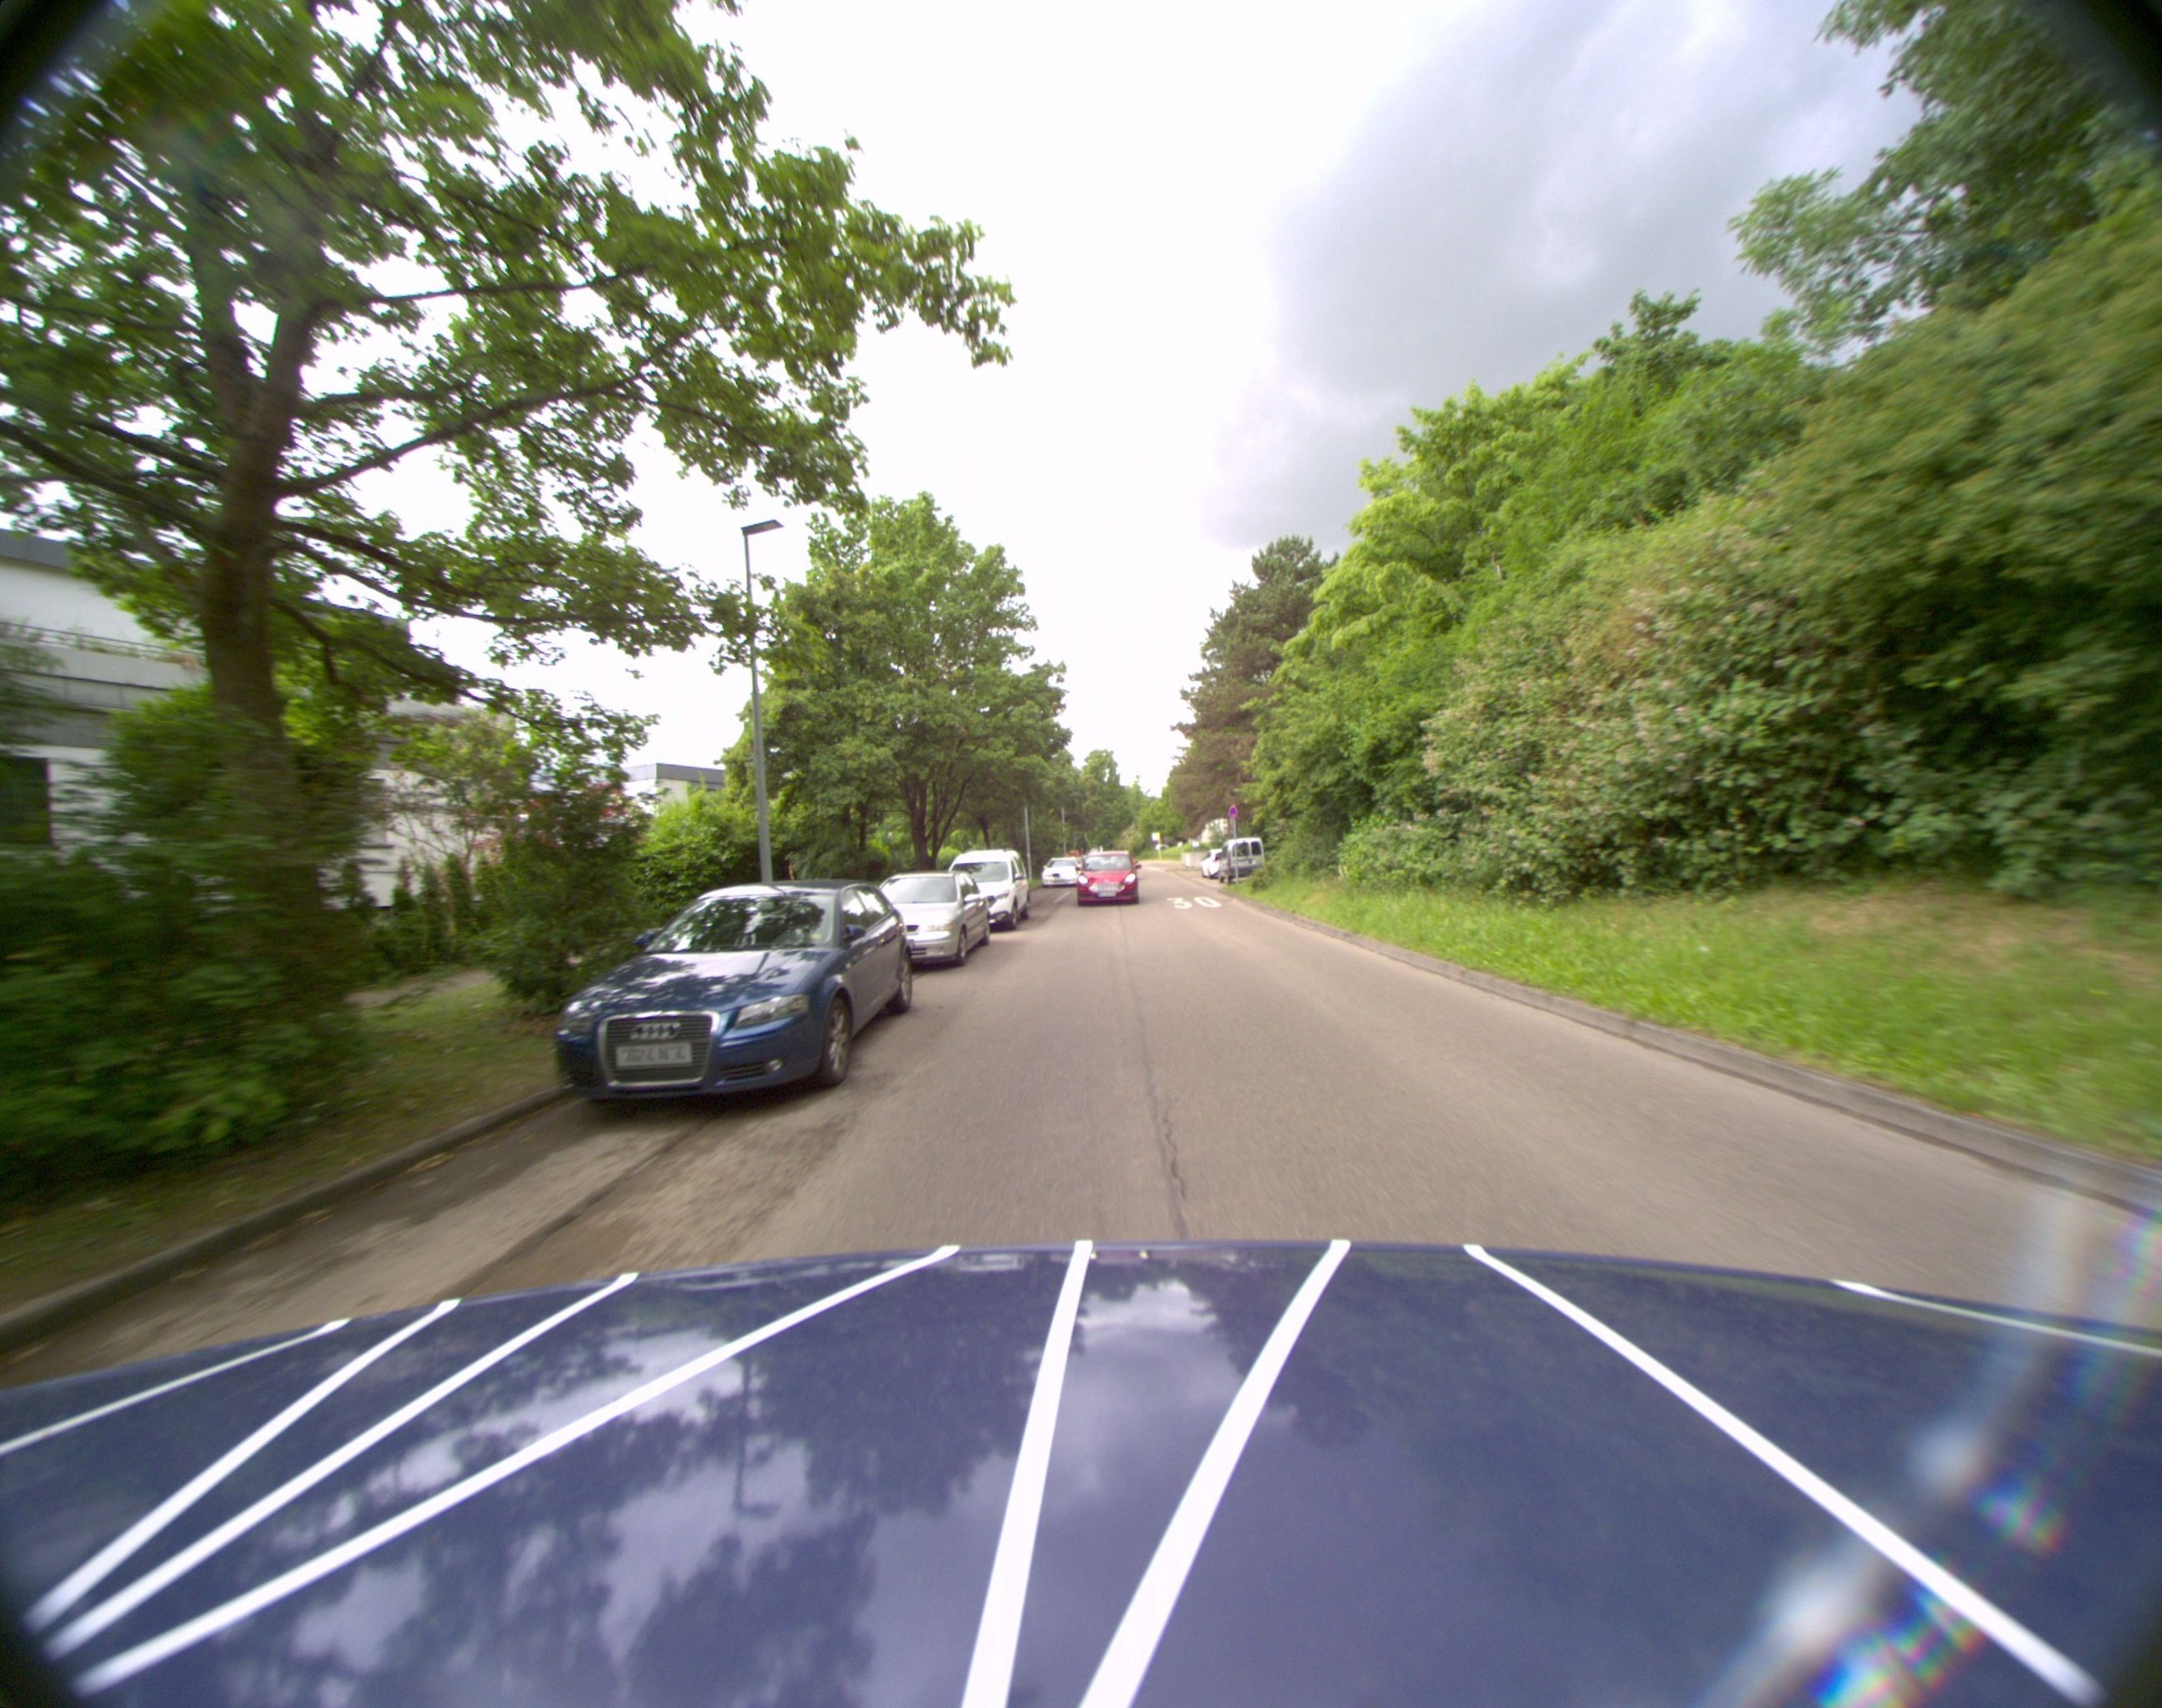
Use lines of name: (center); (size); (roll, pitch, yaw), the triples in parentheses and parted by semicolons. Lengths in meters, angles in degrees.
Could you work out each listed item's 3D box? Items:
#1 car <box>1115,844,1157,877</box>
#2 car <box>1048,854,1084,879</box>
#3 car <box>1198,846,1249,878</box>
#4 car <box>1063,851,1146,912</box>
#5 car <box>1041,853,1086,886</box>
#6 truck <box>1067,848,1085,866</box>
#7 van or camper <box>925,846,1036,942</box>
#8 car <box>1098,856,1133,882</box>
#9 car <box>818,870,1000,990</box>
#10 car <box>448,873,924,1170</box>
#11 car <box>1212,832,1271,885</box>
car: (3.100, 0.410, 43.661); (1.999, 1.502, 4.002); (-5, -3, -1)
car: (-0.892, 0.757, 47.127); (1.797, 1.403, 4.060); (-2, 0, 4)
car: (7.044, 0.363, 37.970); (1.810, 1.394, 4.372); (-5, 0, 2)
car: (0.626, 0.772, 23.701); (1.946, 1.550, 4.353); (-5, 1, -5)
car: (-0.834, 0.773, 39.507); (1.890, 1.498, 5.176); (-3, 0, 3)
truck: (-0.713, 0.477, 115.583); (2.328, 2.455, 6.021); (-5, 0, 2)
van or camper: (-2.231, 0.816, 18.013); (1.806, 1.827, 4.320); (-3, 2, 2)
car: (2.641, 1.134, 58.532); (1.999, 1.684, 3.997); (-5, 2, -5)
car: (-2.581, 1.083, 12.489); (1.817, 1.429, 4.242); (-4, 0, 2)
car: (-2.711, 1.007, 6.588); (1.852, 1.466, 4.477); (-3, 0, -2)
car: (6.559, 0.185, 31.383); (1.724, 1.910, 4.106); (-5, -1, 5)
